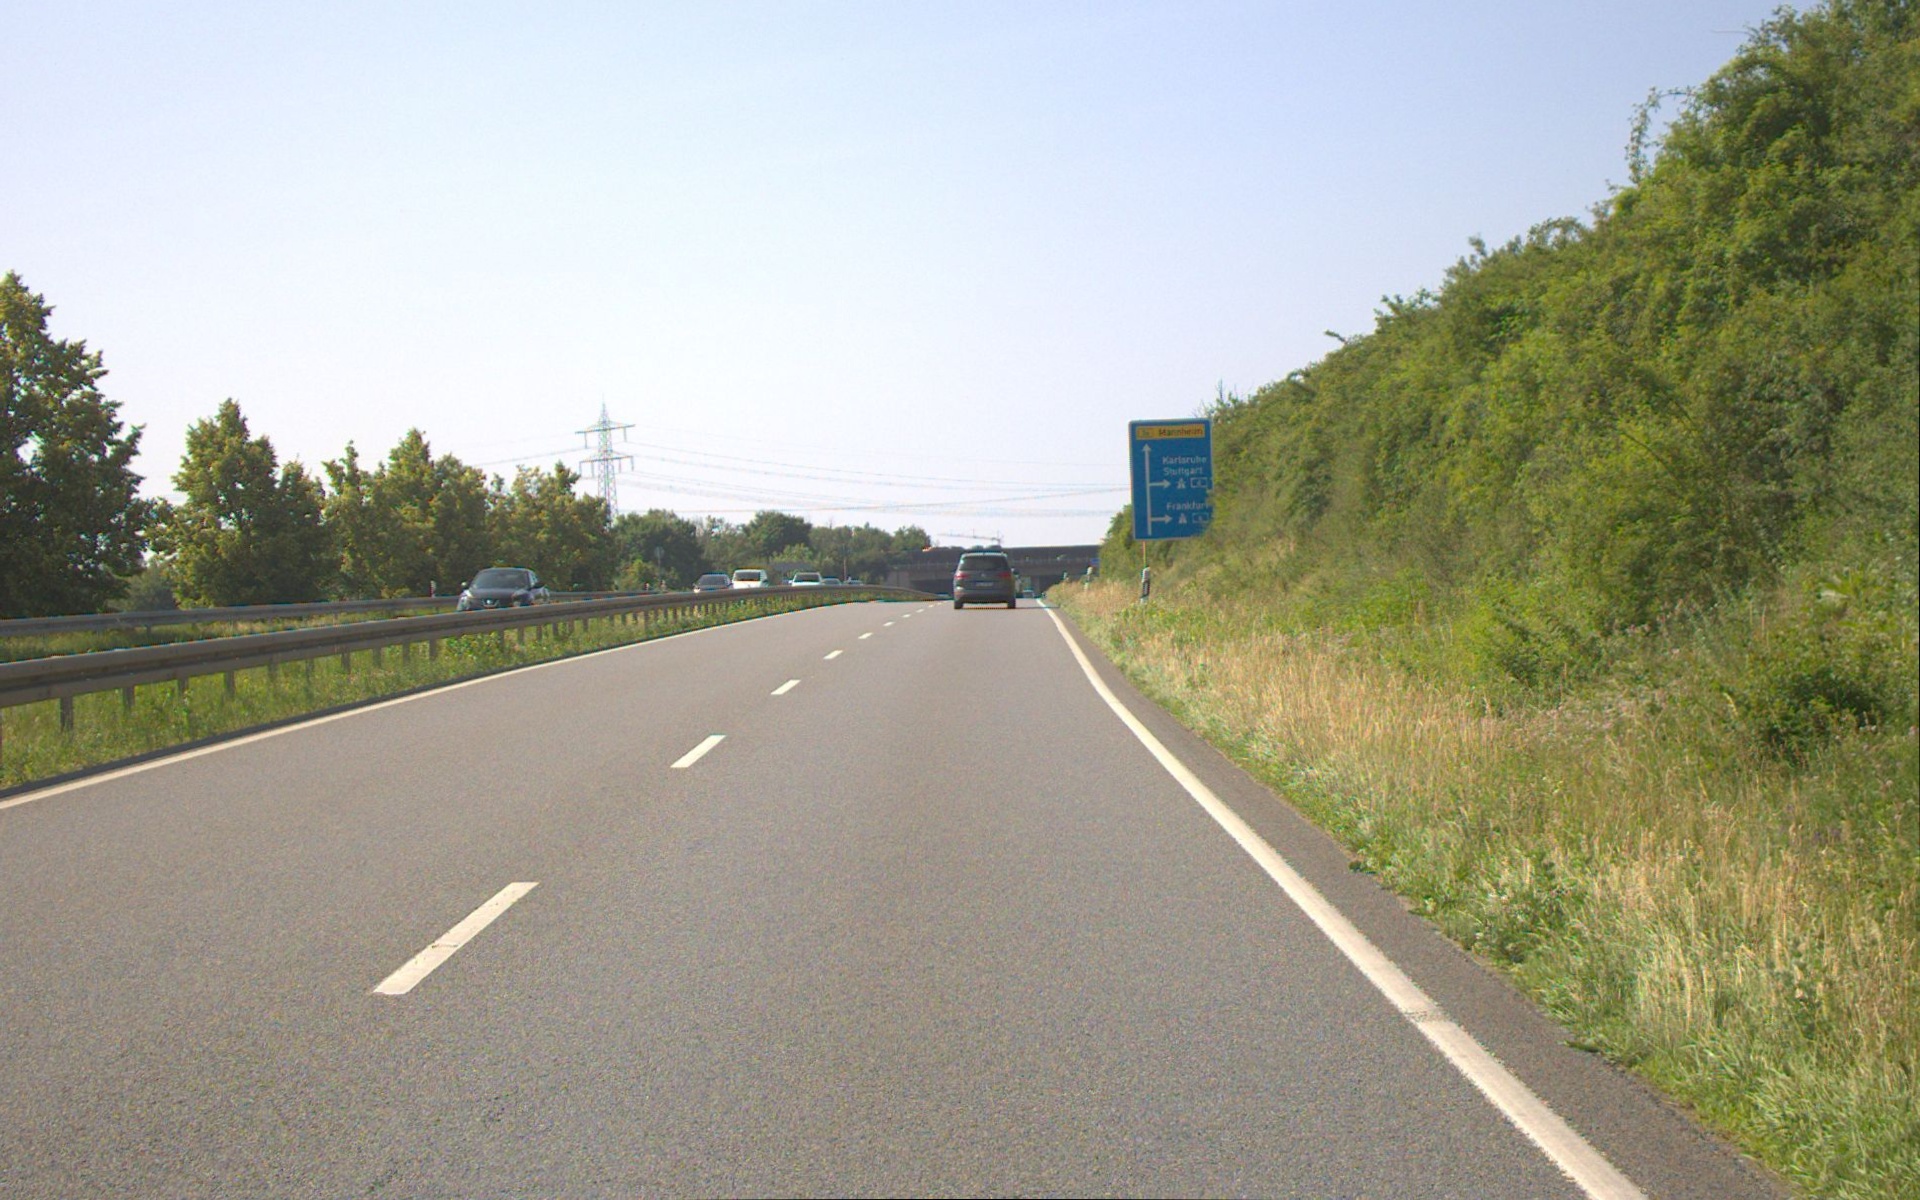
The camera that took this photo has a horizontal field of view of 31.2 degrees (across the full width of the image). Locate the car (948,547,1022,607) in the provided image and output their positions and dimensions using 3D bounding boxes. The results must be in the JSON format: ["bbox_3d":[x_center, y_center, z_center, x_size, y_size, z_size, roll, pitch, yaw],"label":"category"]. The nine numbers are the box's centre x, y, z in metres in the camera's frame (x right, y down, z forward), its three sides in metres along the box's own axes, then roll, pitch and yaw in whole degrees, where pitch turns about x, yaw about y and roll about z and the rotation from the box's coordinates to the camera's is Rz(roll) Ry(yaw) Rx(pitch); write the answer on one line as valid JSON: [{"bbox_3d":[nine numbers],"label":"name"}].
[{"bbox_3d":[0.749,-0.651,100.030,1.850,1.639,3.999,-1,0,4],"label":"car"}]

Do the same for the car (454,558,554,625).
[{"bbox_3d":[-10.985,-0.218,83.080,1.690,1.536,4.243,-1,1,2],"label":"car"}]
